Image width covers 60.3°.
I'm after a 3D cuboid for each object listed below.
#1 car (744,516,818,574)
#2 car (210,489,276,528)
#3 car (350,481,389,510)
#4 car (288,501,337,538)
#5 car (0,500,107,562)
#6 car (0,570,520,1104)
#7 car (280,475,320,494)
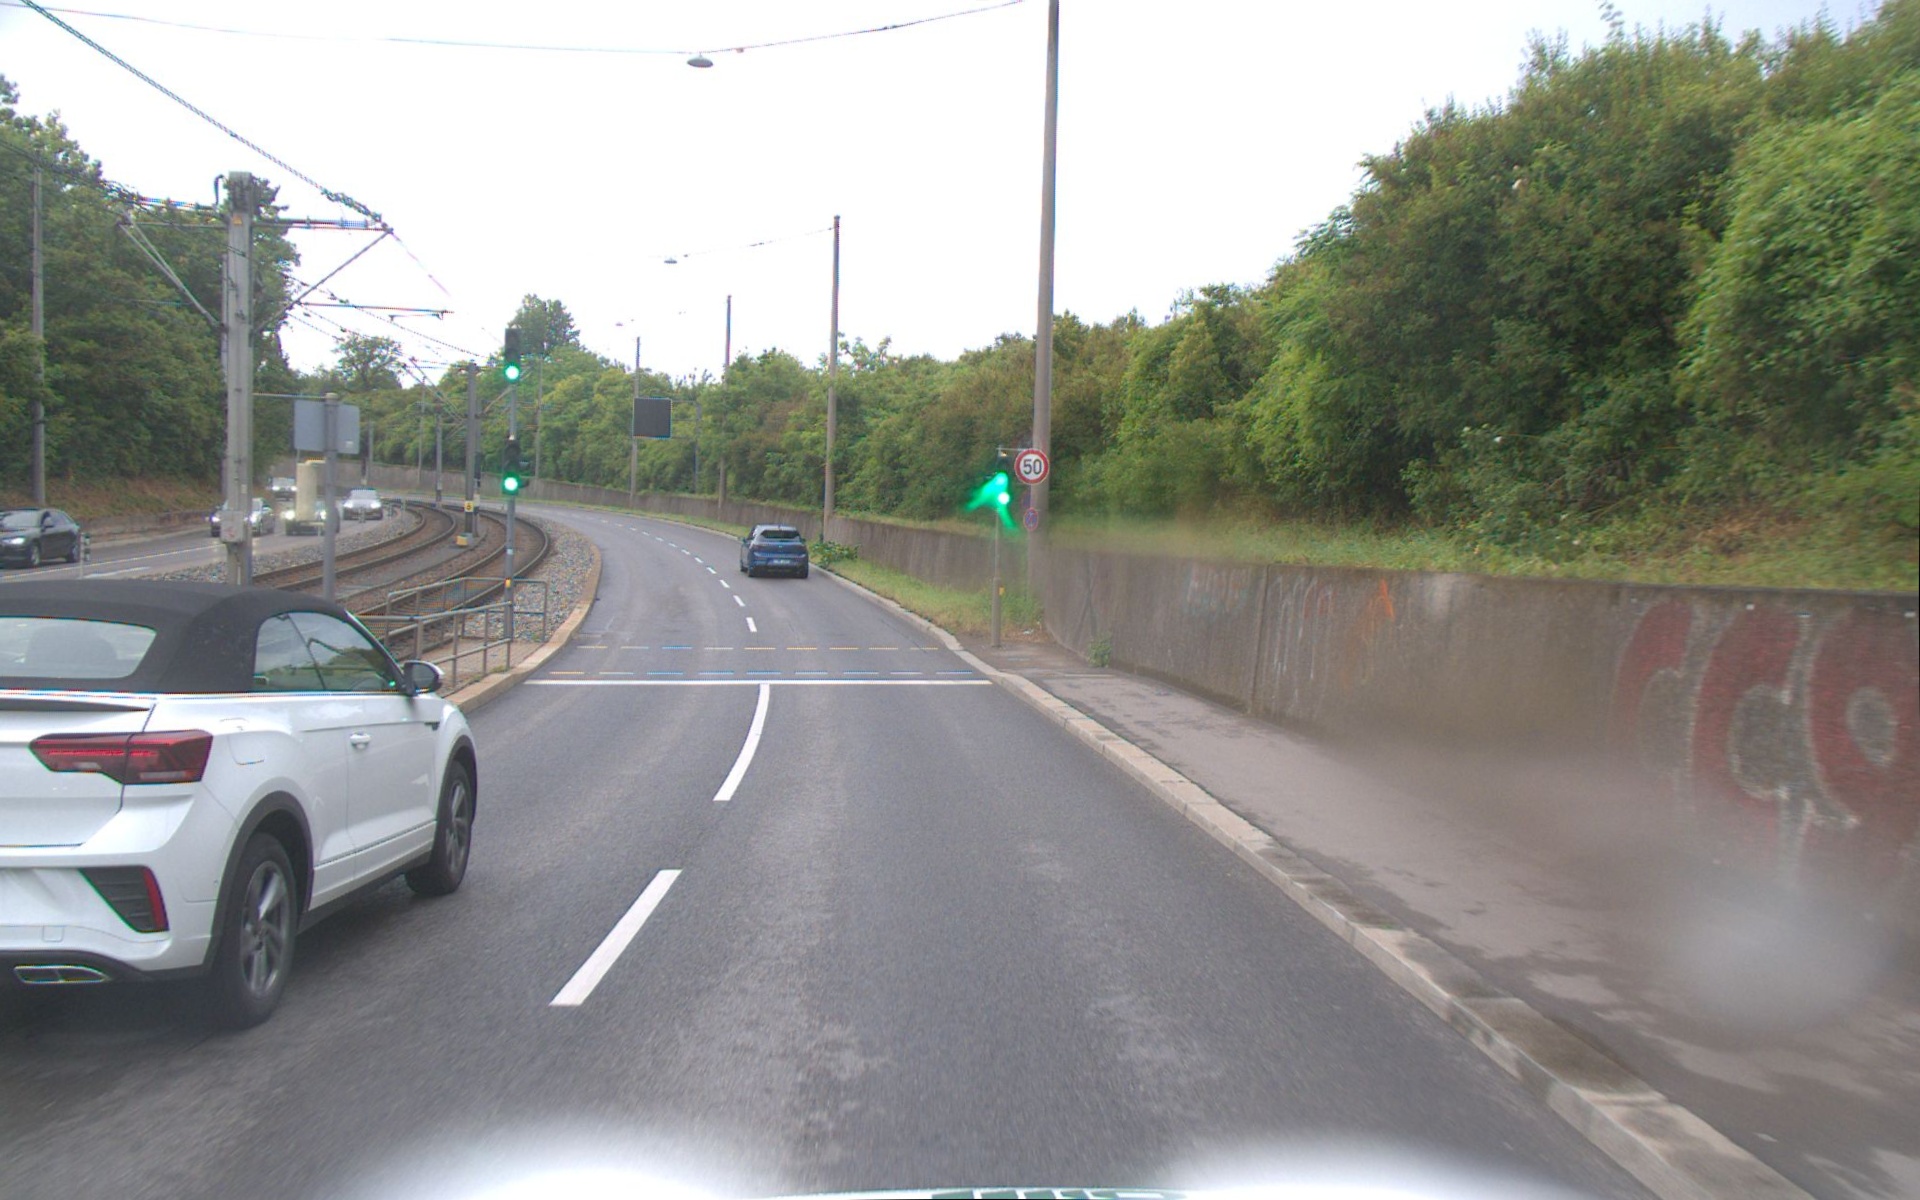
[{"bbox_3d":[-5.328,-1.653,48.757,1.733,1.526,3.990,1,4,-12],"label":"car"},{"bbox_3d":[-27.922,-3.597,64.530,1.790,1.403,4.686,-1,4,-17],"label":"car"},{"bbox_3d":[-31.175,-5.550,87.419,1.833,1.463,4.831,-2,5,-19],"label":"car"},{"bbox_3d":[-25.691,-3.209,65.682,1.608,1.408,3.874,-2,4,-19],"label":"car"},{"bbox_3d":[-23.208,-1.759,41.681,1.684,1.483,4.269,0,3,-8],"label":"car"},{"bbox_3d":[-3.311,0.683,7.051,1.834,1.551,4.537,0,0,-3],"label":"car"},{"bbox_3d":[-54.596,-9.526,136.809,3.966,1.439,1.699,5,5,45],"label":"car"}]
